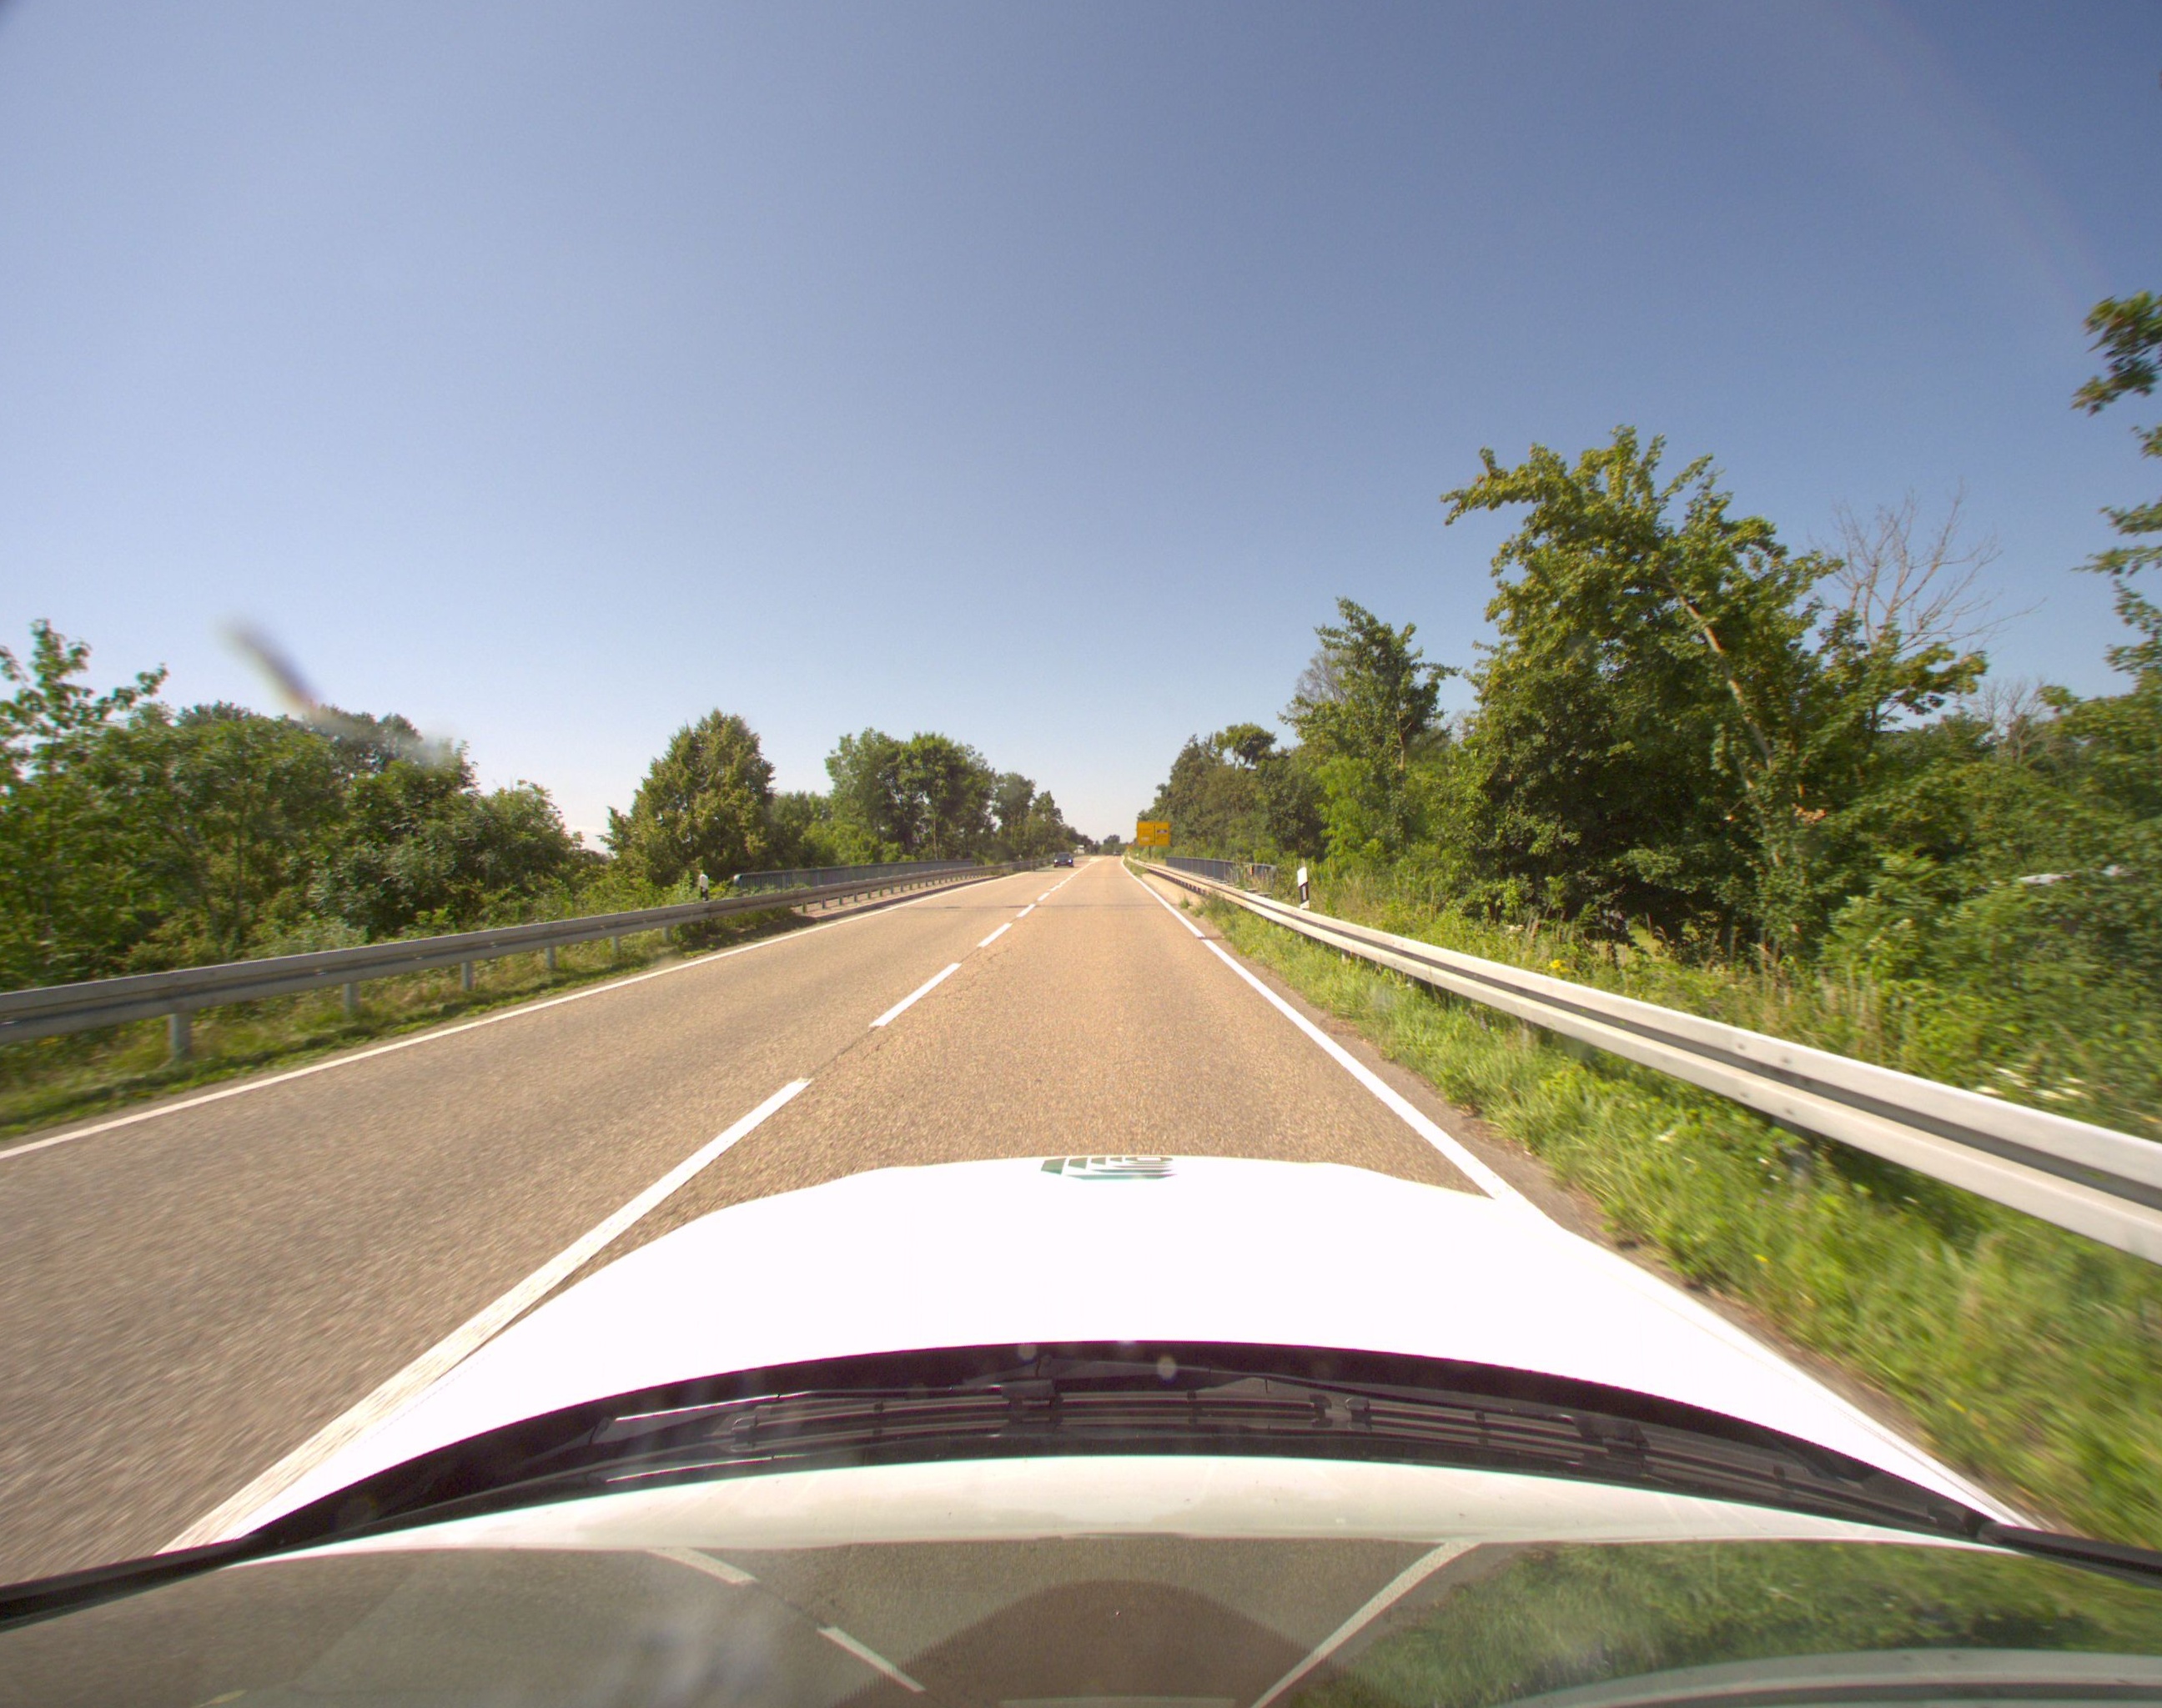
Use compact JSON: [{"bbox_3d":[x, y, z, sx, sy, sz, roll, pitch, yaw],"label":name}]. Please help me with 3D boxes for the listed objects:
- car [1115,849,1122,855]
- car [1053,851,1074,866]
[{"bbox_3d":[9.455,-0.463,204.105,1.734,1.470,3.695,0,0,3],"label":"car"},{"bbox_3d":[-1.695,0.429,80.574,1.739,1.425,4.679,-1,0,2],"label":"car"}]
